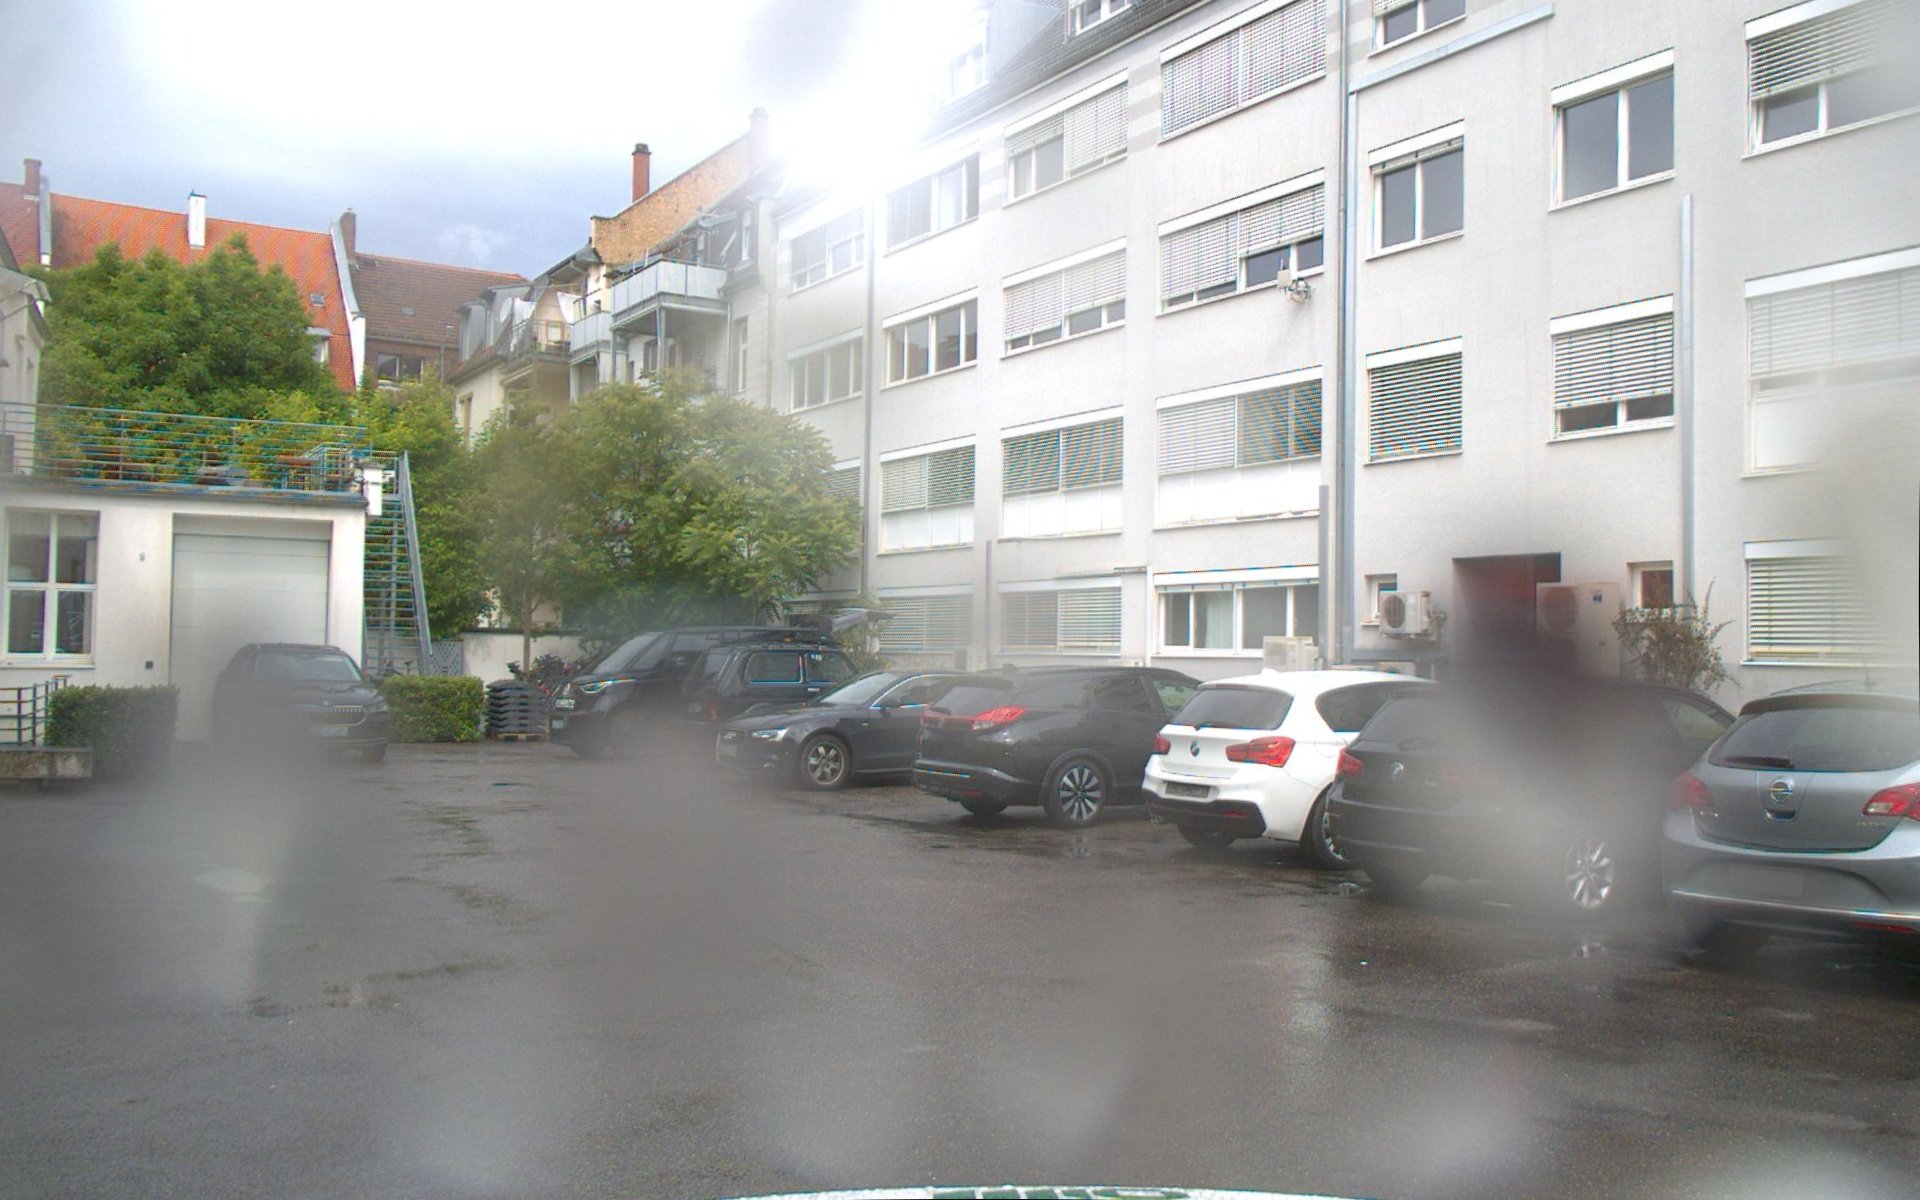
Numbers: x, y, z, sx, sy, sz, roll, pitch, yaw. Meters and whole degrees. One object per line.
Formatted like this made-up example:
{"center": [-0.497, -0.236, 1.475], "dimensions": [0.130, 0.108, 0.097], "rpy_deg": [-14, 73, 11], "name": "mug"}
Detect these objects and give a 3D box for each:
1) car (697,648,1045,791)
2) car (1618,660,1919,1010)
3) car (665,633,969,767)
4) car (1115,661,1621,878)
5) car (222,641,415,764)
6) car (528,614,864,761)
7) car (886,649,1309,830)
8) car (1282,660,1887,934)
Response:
{"center": [-1.048, 1.373, 19.962], "dimensions": [3.870, 1.540, 1.733], "rpy_deg": [0, -2, -32], "name": "car"}
{"center": [5.574, 1.075, 8.811], "dimensions": [3.944, 1.471, 1.789], "rpy_deg": [0, -2, -30], "name": "car"}
{"center": [-1.993, 1.341, 23.139], "dimensions": [3.864, 1.717, 1.800], "rpy_deg": [0, -2, -28], "name": "car"}
{"center": [3.351, 1.254, 13.414], "dimensions": [3.947, 1.484, 1.754], "rpy_deg": [1, -2, -32], "name": "car"}
{"center": [-8.740, 1.322, 22.350], "dimensions": [1.956, 1.469, 3.963], "rpy_deg": [2, -2, -28], "name": "car"}
{"center": [-3.966, 1.248, 25.189], "dimensions": [4.600, 2.038, 2.196], "rpy_deg": [1, -1, -37], "name": "car"}
{"center": [1.383, 1.266, 16.176], "dimensions": [3.873, 1.540, 1.798], "rpy_deg": [1, -2, -34], "name": "car"}
{"center": [4.234, 1.171, 11.092], "dimensions": [3.947, 1.427, 1.754], "rpy_deg": [0, -1, -31], "name": "car"}
